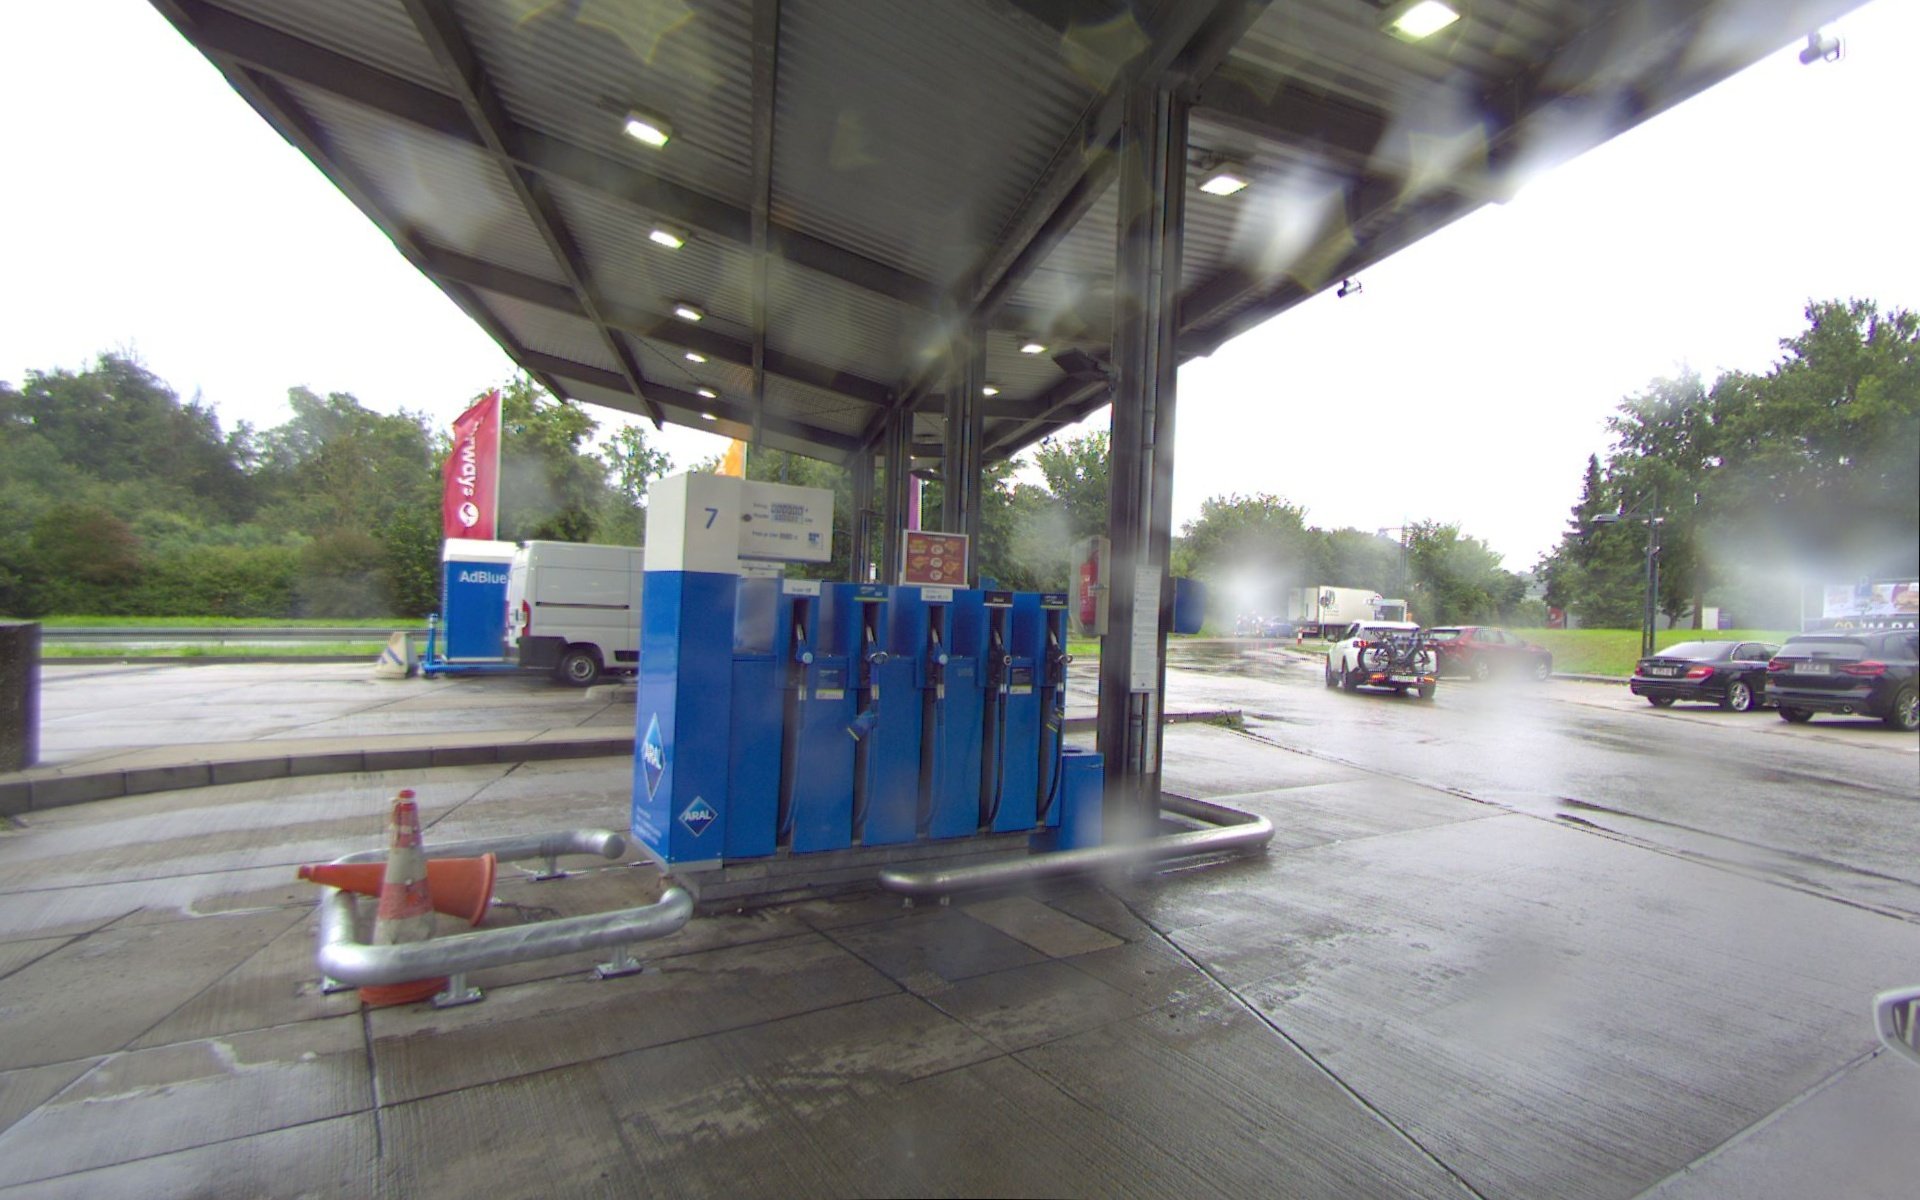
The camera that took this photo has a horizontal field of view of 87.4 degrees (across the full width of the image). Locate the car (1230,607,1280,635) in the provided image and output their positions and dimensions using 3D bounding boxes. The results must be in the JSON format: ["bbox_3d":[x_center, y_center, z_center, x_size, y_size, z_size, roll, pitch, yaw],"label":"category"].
[{"bbox_3d":[20.805,1.482,70.713,1.903,1.862,4.373,1,0,38],"label":"car"}]

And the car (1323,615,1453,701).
[{"bbox_3d":[9.266,1.161,22.145,1.783,1.586,5.007,1,0,13],"label":"car"}]

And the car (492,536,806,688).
[{"bbox_3d":[-5.797,0.267,18.973,5.227,2.496,2.306,1,-1,-34],"label":"car"}]

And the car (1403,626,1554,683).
[{"bbox_3d":[15.989,1.647,30.969,4.294,1.617,1.879,1,-1,-24],"label":"car"}]

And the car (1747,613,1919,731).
[{"bbox_3d":[16.140,1.190,17.404,4.344,1.852,1.883,1,-1,-19],"label":"car"}]

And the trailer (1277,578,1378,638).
[{"bbox_3d":[30.898,0.755,83.856,3.416,4.618,13.847,2,0,40],"label":"trailer"}]

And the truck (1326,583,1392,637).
[{"bbox_3d":[35.571,0.926,89.460,3.416,4.618,6.704,2,0,40],"label":"truck"}]

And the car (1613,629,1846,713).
[{"bbox_3d":[15.926,1.419,20.823,4.119,1.585,1.883,1,-1,-19],"label":"car"}]
